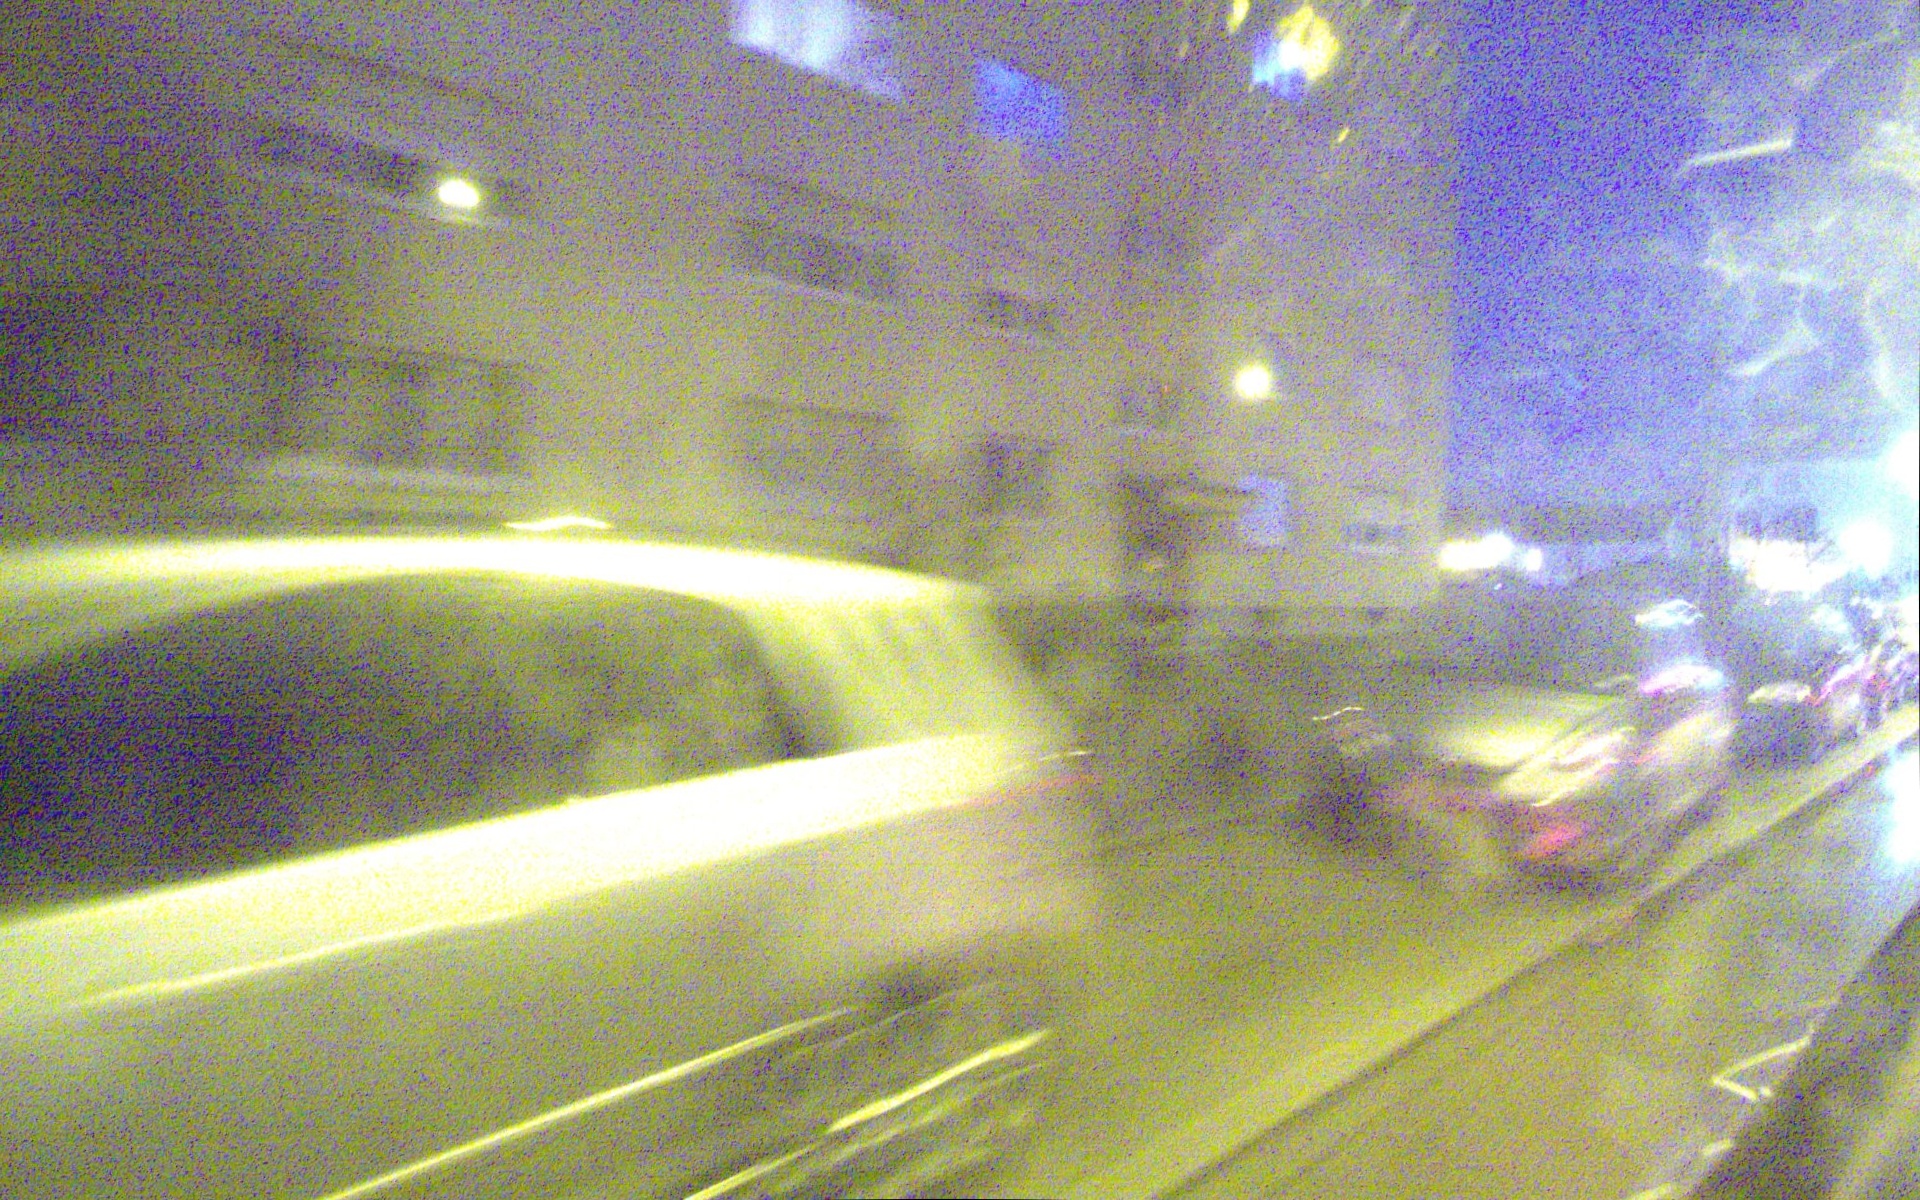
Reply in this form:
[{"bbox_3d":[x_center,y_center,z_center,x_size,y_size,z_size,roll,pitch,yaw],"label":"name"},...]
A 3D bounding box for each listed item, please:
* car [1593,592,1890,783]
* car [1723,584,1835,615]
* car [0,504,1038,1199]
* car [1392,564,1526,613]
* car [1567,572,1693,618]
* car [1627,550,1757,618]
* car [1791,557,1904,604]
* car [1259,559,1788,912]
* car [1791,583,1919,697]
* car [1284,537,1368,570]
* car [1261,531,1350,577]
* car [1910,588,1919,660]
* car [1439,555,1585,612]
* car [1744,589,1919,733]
[{"bbox_3d":[8.059,0.751,10.312,3.882,1.491,1.607,1,3,-41],"label":"car"},{"bbox_3d":[41.436,-0.036,51.285,1.766,1.284,4.031,2,3,-33],"label":"car"},{"bbox_3d":[-1.868,0.612,1.788,3.885,1.566,1.798,1,3,-43],"label":"car"},{"bbox_3d":[16.754,-0.407,34.112,1.636,1.357,3.664,1,3,-39],"label":"car"},{"bbox_3d":[25.751,-0.206,38.964,1.636,1.474,3.664,1,3,-39],"label":"car"},{"bbox_3d":[31.449,-0.746,43.560,1.766,2.650,4.031,2,3,-33],"label":"car"},{"bbox_3d":[46.332,-1.033,52.907,1.766,2.195,4.031,2,3,-33],"label":"car"},{"bbox_3d":[3.775,0.600,6.470,3.885,1.491,1.798,1,3,-43],"label":"car"},{"bbox_3d":[15.483,0.627,16.687,4.698,1.566,1.800,1,3,-39],"label":"car"},{"bbox_3d":[18.574,-2.395,51.457,1.636,1.474,3.664,1,3,-39],"label":"car"},{"bbox_3d":[21.768,-2.913,63.907,2.258,2.620,4.753,2,3,-39],"label":"car"},{"bbox_3d":[23.363,0.620,23.293,3.771,1.610,1.894,1,3,-43],"label":"car"},{"bbox_3d":[19.157,-0.608,35.288,1.635,1.727,4.096,2,3,-36],"label":"car"},{"bbox_3d":[11.538,0.695,13.042,3.885,1.491,1.606,1,3,-43],"label":"car"}]
